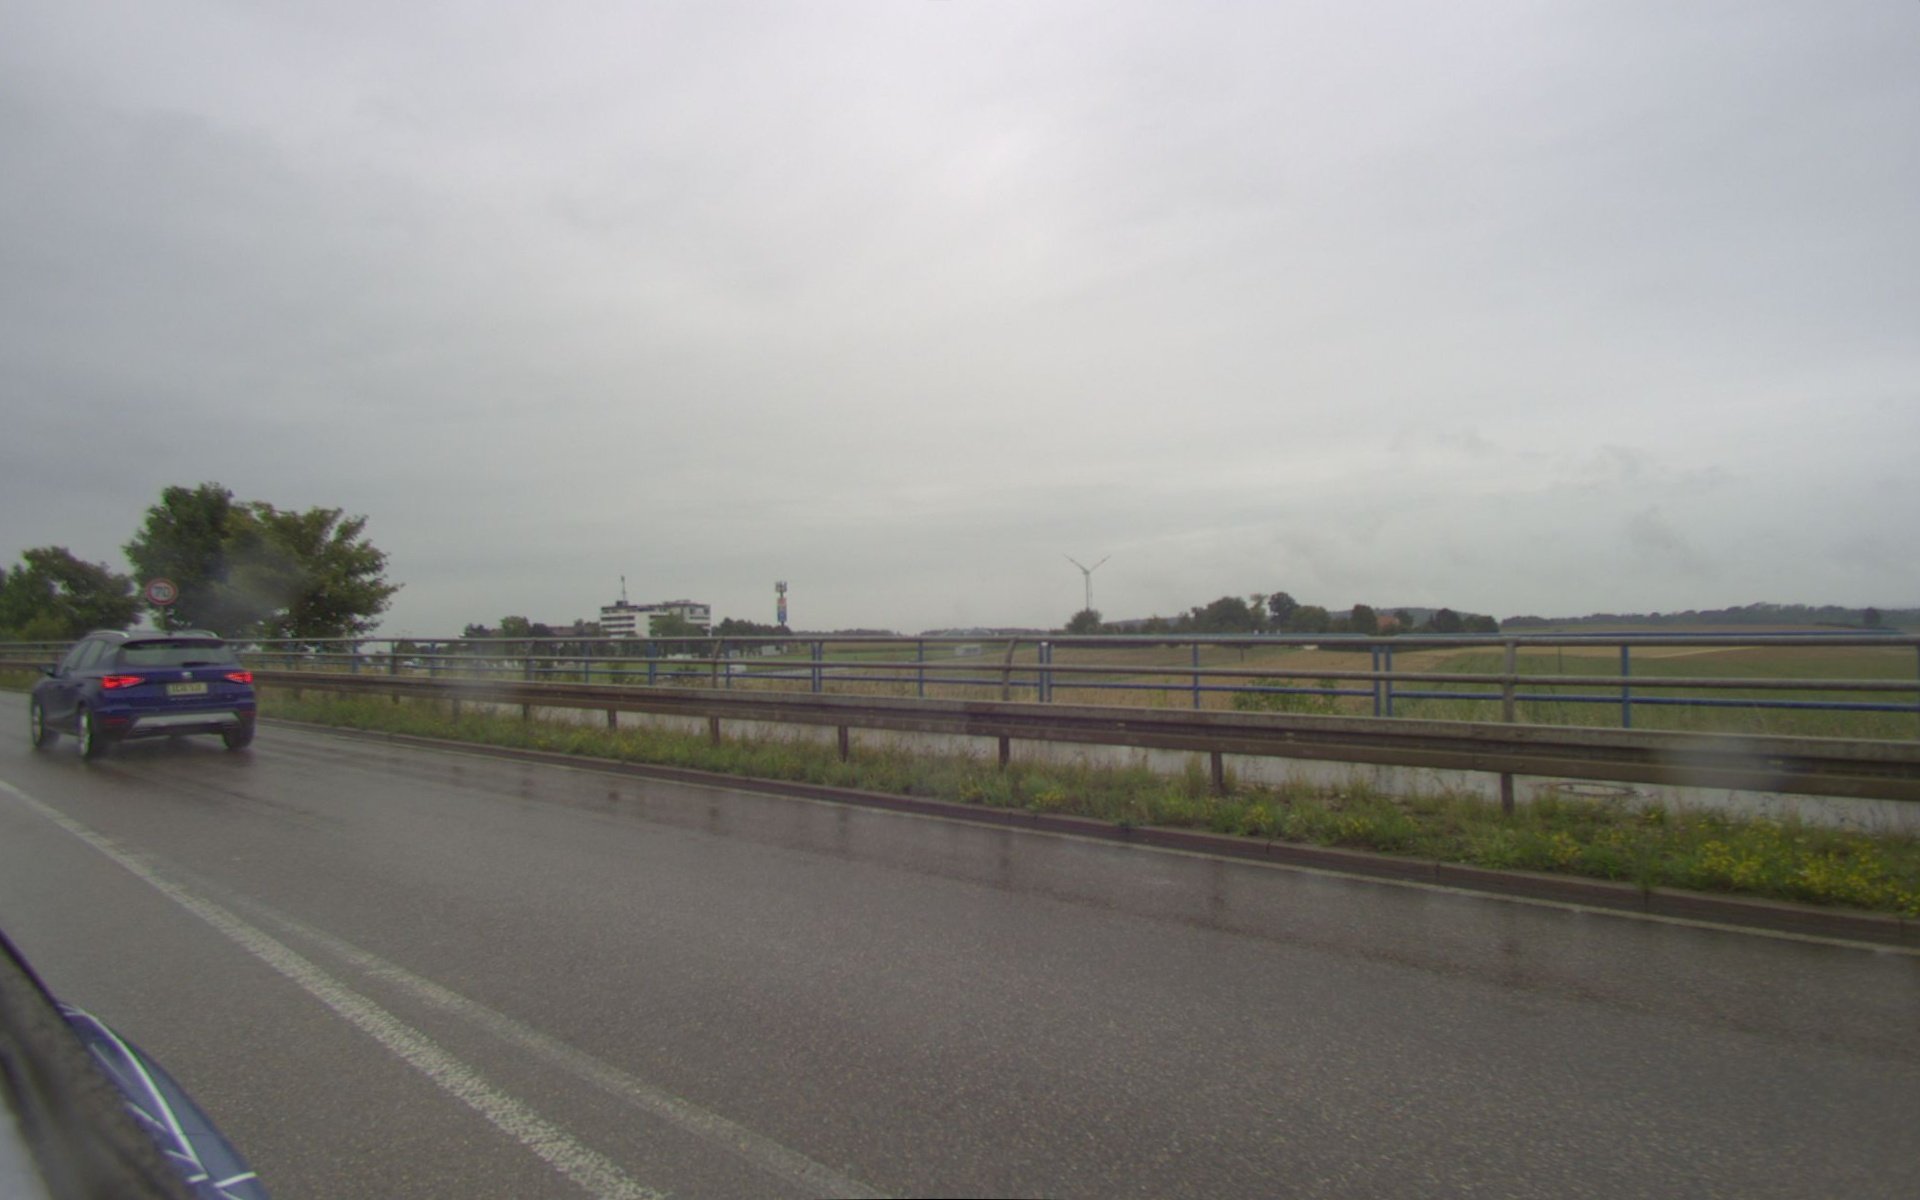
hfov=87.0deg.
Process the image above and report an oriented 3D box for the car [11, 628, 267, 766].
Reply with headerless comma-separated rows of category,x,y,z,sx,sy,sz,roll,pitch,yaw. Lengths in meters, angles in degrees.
car,-10.886,1.167,13.326,4.164,1.537,1.763,-2,-3,39
